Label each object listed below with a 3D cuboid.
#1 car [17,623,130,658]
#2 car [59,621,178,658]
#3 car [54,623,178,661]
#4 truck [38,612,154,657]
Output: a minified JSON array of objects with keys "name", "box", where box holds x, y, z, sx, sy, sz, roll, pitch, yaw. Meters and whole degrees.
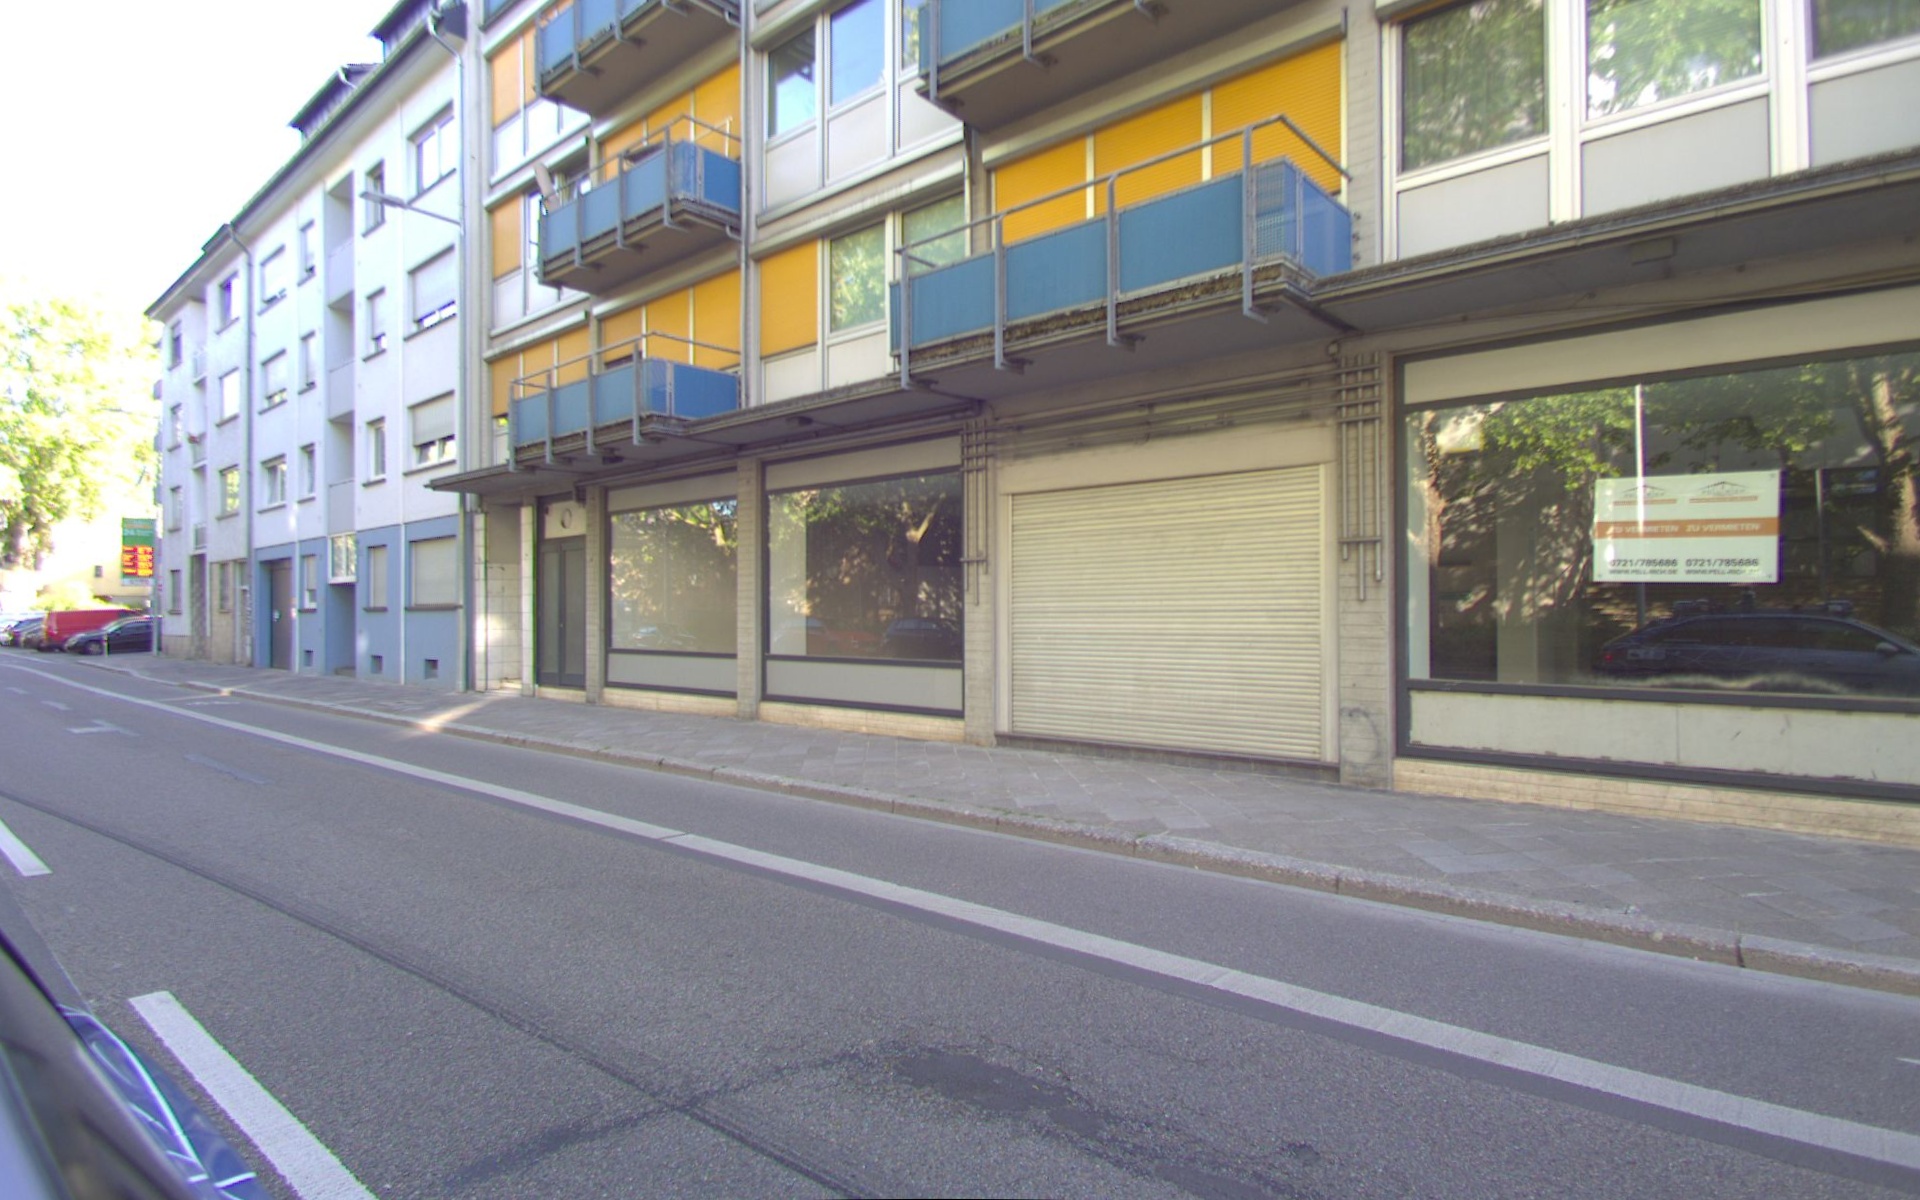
[{"name":"car","box":[-42.916,1.911,49.033,1.761,1.514,3.944,-1,0,42]},{"name":"car","box":[-38.114,1.766,45.894,1.761,1.514,3.944,-1,0,42]},{"name":"car","box":[-36.634,1.769,44.007,1.761,1.468,3.944,-1,0,42]},{"name":"truck","box":[-40.505,1.578,47.486,1.761,1.951,3.944,-1,0,42]}]
